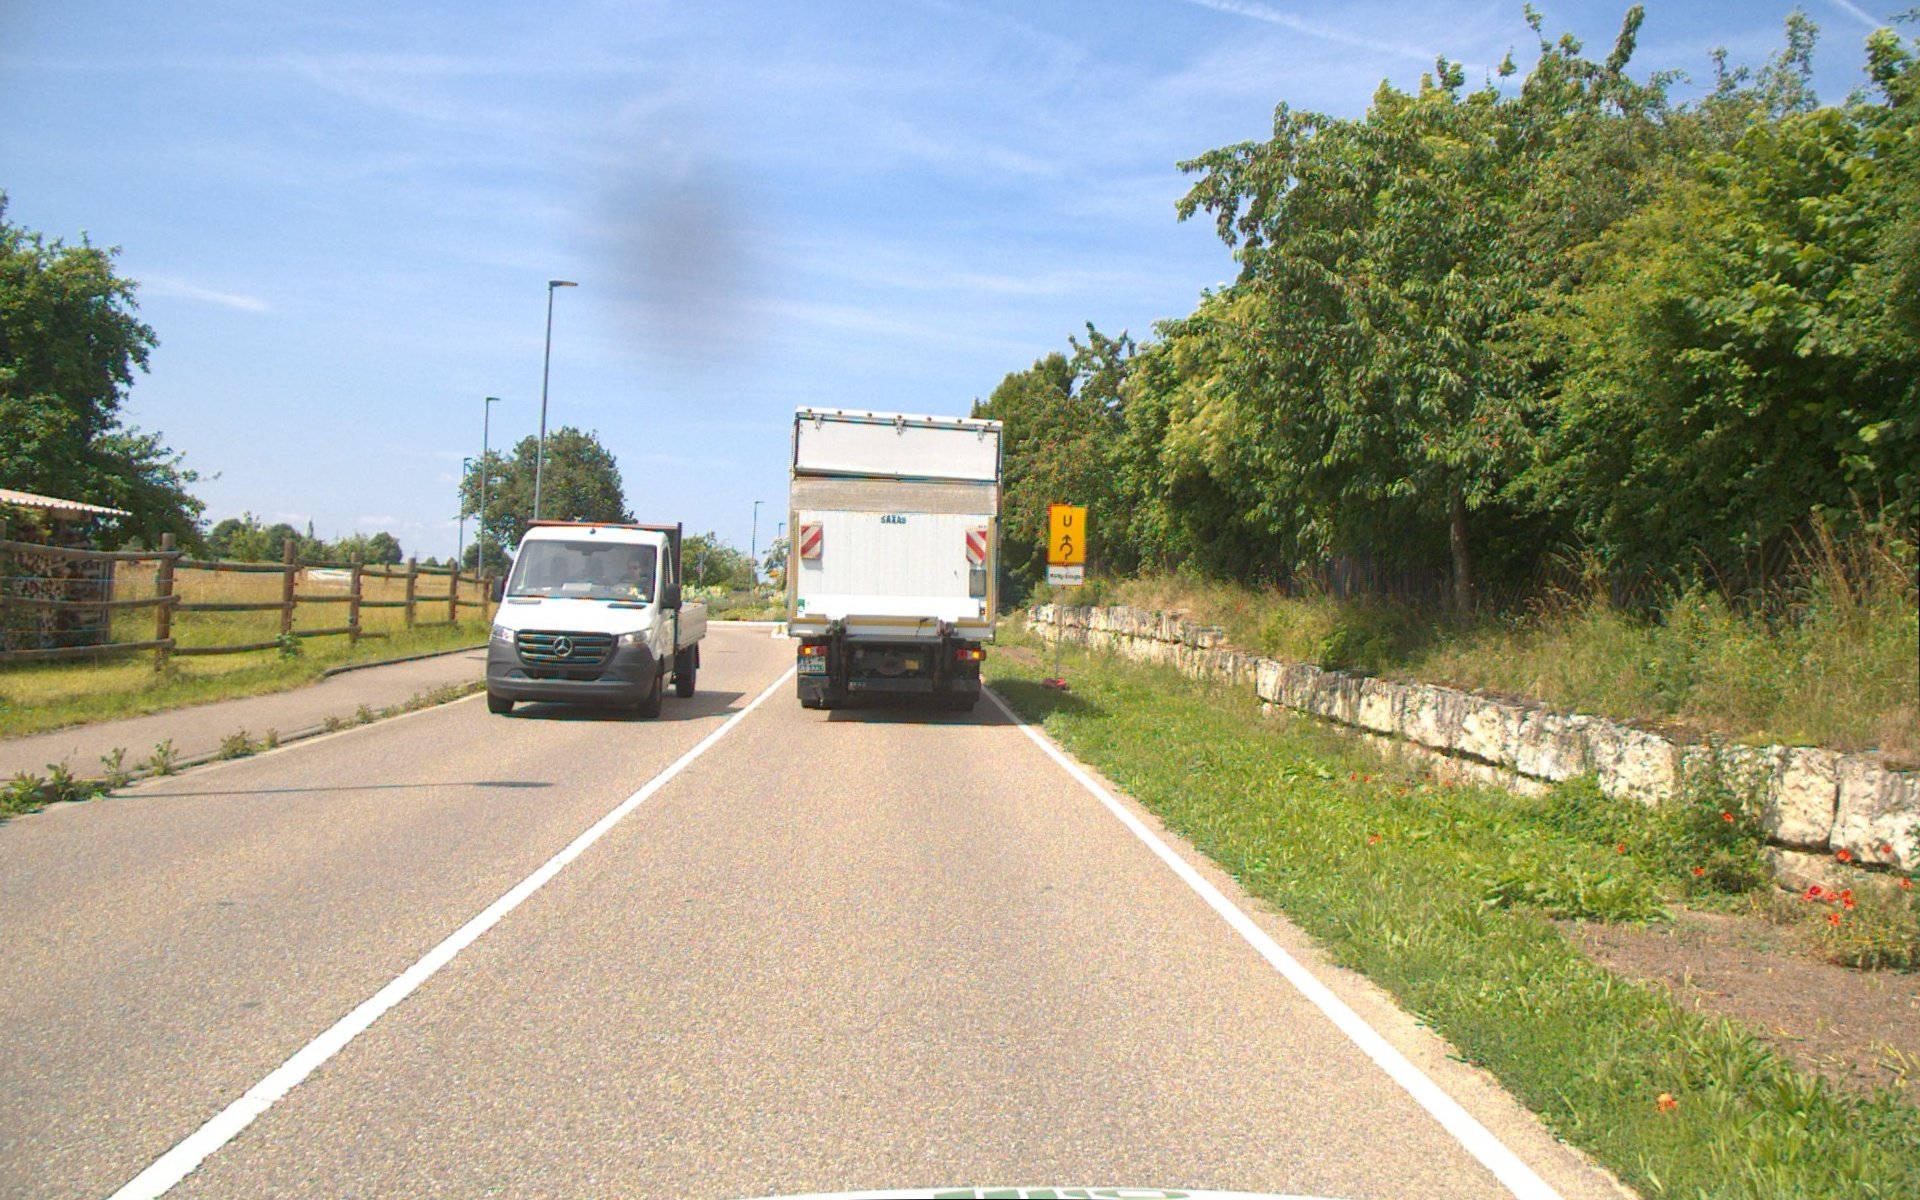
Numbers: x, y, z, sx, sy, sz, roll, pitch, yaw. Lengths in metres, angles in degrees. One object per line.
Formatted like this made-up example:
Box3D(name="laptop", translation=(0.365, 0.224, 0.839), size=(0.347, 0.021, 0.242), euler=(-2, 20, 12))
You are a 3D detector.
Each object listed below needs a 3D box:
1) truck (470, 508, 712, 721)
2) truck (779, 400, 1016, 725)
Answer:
Box3D(name="truck", translation=(-4.612, 0.165, 21.775), size=(2.179, 2.333, 6.485), euler=(1, 0, -5))
Box3D(name="truck", translation=(-1.063, -0.450, 23.995), size=(2.712, 3.735, 9.374), euler=(1, 0, -4))
